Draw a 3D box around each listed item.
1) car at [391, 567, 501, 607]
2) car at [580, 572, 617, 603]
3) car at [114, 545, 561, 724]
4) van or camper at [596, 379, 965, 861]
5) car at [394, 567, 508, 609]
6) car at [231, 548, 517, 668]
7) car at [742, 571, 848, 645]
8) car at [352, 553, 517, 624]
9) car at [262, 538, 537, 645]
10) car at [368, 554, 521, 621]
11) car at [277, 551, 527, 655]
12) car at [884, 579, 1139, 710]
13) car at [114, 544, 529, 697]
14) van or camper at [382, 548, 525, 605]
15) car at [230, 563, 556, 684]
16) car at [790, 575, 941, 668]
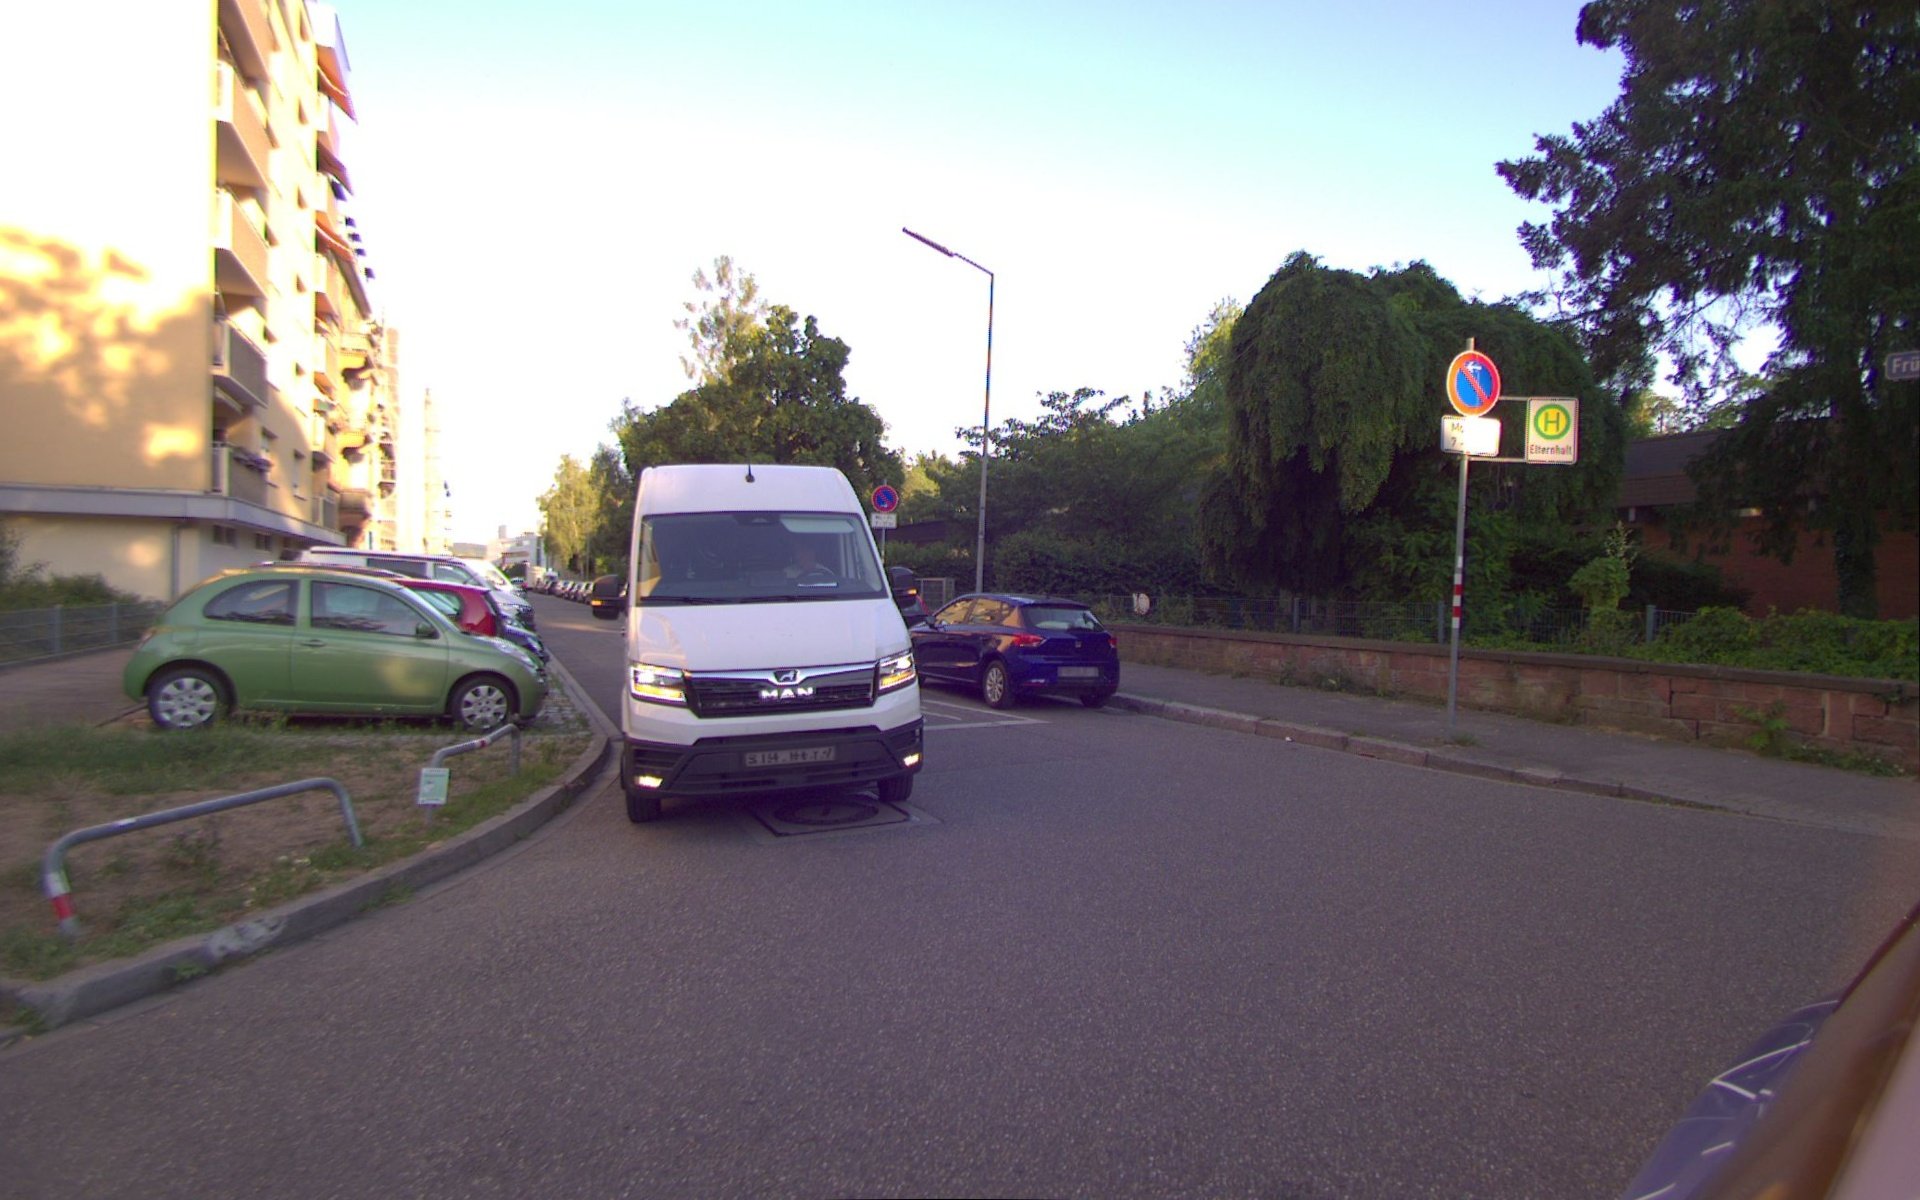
[{"bbox_3d":[-22.924,-0.572,45.315,4.273,1.680,1.747,1,1,-26],"label":"car"},{"bbox_3d":[-19.768,-0.678,55.293,1.503,1.605,2.959,1,1,-27],"label":"car"},{"bbox_3d":[-6.004,0.376,10.191,3.497,1.532,1.629,3,-1,-27],"label":"car"},{"bbox_3d":[-1.819,0.025,9.092,2.052,2.622,6.886,-1,1,-14],"label":"van or camper"},{"bbox_3d":[-21.821,-0.515,43.569,4.273,1.680,1.747,1,1,-26],"label":"car"},{"bbox_3d":[-9.803,0.128,17.211,3.972,1.836,1.831,1,1,-29],"label":"car"},{"bbox_3d":[-3.871,0.144,23.406,1.503,1.605,3.134,1,1,-27],"label":"car"},{"bbox_3d":[-15.806,-0.330,30.661,4.273,2.023,1.747,1,1,-26],"label":"car"},{"bbox_3d":[-11.949,-0.154,21.998,4.972,2.112,2.004,1,1,-24],"label":"car"},{"bbox_3d":[-16.647,-0.385,32.851,4.273,2.023,1.747,1,1,-26],"label":"car"},{"bbox_3d":[-10.701,0.068,19.624,4.029,1.836,1.831,1,1,-29],"label":"car"},{"bbox_3d":[0.557,0.496,13.934,1.689,1.503,3.794,1,1,-30],"label":"car"},{"bbox_3d":[-7.435,0.221,12.198,3.919,1.571,1.831,1,1,-29],"label":"car"},{"bbox_3d":[-24.220,-1.078,48.669,5.977,2.521,2.201,1,1,-26],"label":"van or camper"},{"bbox_3d":[-8.179,0.311,14.882,3.919,1.571,1.831,1,1,-29],"label":"car"},{"bbox_3d":[-1.814,0.325,18.444,1.503,1.503,3.516,1,1,-27],"label":"car"}]
